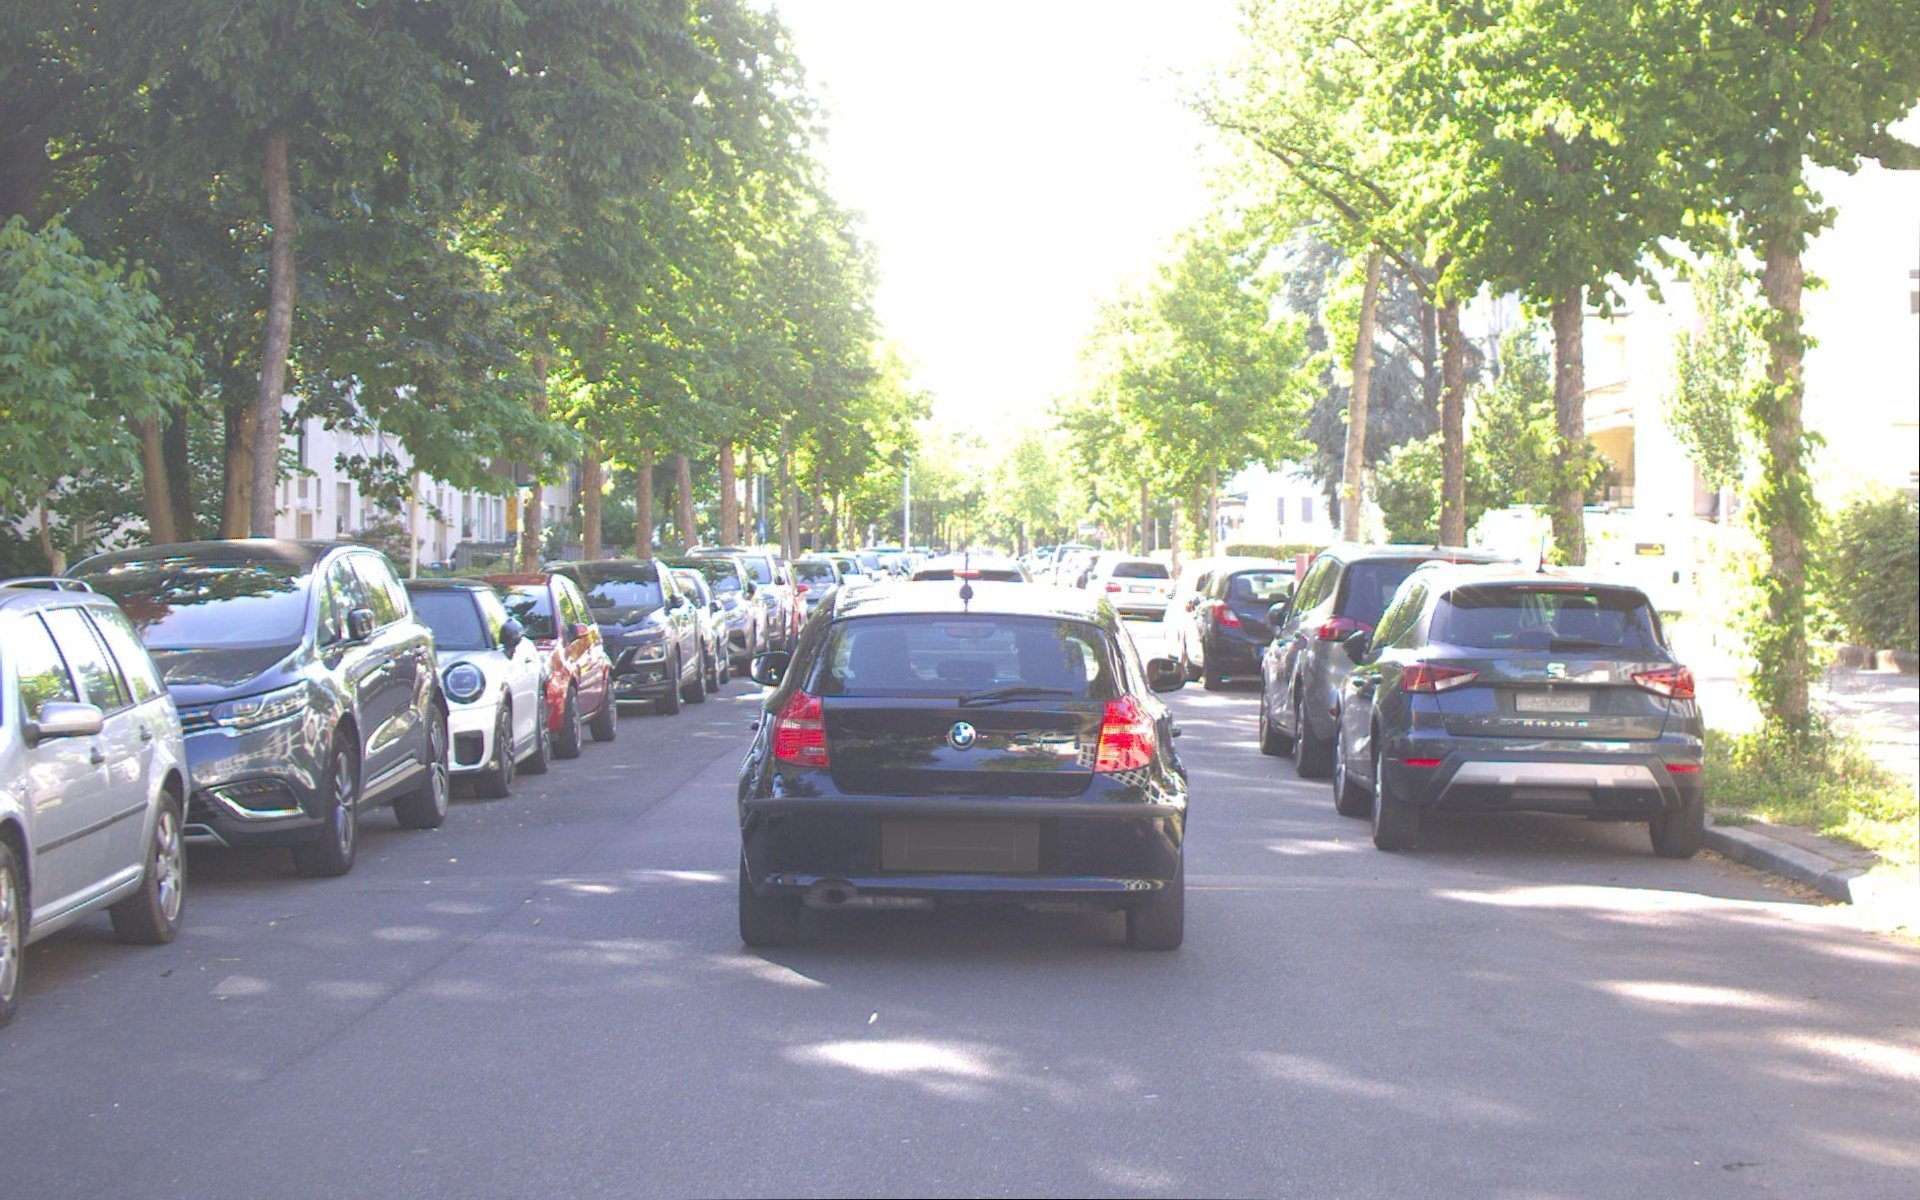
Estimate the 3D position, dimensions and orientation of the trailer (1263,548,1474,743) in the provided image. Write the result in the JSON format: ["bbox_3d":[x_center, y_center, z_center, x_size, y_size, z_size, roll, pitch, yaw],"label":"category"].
[{"bbox_3d":[3.577,0.360,30.512,1.575,1.573,3.192,2,1,3],"label":"trailer"}]

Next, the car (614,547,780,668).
[{"bbox_3d":[-3.454,0.066,45.874,1.769,1.526,4.419,0,1,1],"label":"car"}]

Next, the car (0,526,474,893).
[{"bbox_3d":[-3.866,0.461,18.144,1.842,1.651,5.088,-1,1,0],"label":"car"}]

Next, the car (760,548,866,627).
[{"bbox_3d":[-2.959,-0.279,68.646,2.042,1.519,4.607,0,1,-3],"label":"car"}]

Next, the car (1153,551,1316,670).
[{"bbox_3d":[3.578,0.105,45.410,1.732,1.482,4.010,1,1,-1],"label":"car"}]

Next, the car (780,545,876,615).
[{"bbox_3d":[-2.949,-0.471,76.663,2.064,1.519,4.722,0,1,-2],"label":"car"}]

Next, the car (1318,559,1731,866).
[{"bbox_3d":[3.082,0.542,19.573,1.718,1.511,4.344,1,1,1],"label":"car"}]

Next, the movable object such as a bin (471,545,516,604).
[{"bbox_3d":[-10.645,-0.581,78.510,0.929,1.319,1.379,0,1,-5],"label":"movable object such as a bin"}]

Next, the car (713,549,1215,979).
[{"bbox_3d":[-0.006,0.558,14.328,1.782,1.518,4.000,-1,1,-1],"label":"car"}]

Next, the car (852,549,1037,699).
[{"bbox_3d":[-0.191,0.244,38.077,1.895,1.519,4.967,1,0,-1],"label":"car"}]

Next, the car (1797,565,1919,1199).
[{"bbox_3d":[2.849,0.735,5.159,1.781,1.513,4.688,1,1,-3],"label":"car"}]

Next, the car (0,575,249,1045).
[{"bbox_3d":[-3.962,0.673,12.844,1.706,1.475,4.490,-1,1,-1],"label":"car"}]

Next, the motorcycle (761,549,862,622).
[{"bbox_3d":[-3.145,-0.307,72.691,0.987,1.498,2.233,-1,1,-39],"label":"motorcycle"}]

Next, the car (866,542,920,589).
[{"bbox_3d":[-2.352,-1.216,121.273,1.811,1.590,4.233,-1,1,0],"label":"car"}]

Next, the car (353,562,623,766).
[{"bbox_3d":[-3.750,0.457,27.905,1.654,1.499,4.069,-1,1,-1],"label":"car"}]

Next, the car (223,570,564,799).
[{"bbox_3d":[-3.754,0.505,23.422,1.654,1.368,4.189,-1,1,-1],"label":"car"}]

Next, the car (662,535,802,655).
[{"bbox_3d":[-3.337,-0.108,51.108,1.767,1.682,4.814,-1,1,0],"label":"car"}]

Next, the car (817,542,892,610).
[{"bbox_3d":[-2.680,-0.630,88.410,1.728,1.612,4.366,-3,1,0],"label":"car"}]

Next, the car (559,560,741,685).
[{"bbox_3d":[-3.587,0.223,40.448,1.785,1.348,4.482,-1,1,-1],"label":"car"}]

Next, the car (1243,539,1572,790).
[{"bbox_3d":[3.232,0.398,25.746,1.792,1.637,4.819,2,1,0],"label":"car"}]

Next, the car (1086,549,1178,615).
[{"bbox_3d":[4.021,-0.451,81.092,1.821,1.464,4.910,2,1,-1],"label":"car"}]

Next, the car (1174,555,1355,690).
[{"bbox_3d":[3.560,0.227,40.814,1.670,1.445,4.179,2,1,-1],"label":"car"}]

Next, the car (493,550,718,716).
[{"bbox_3d":[-3.558,0.283,35.233,1.706,1.571,4.481,-1,1,2],"label":"car"}]

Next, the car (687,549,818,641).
[{"bbox_3d":[-3.421,-0.110,57.371,1.856,1.464,4.182,0,1,1],"label":"car"}]

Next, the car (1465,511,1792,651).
[{"bbox_3d":[11.316,-0.350,58.249,5.039,2.298,2.235,-1,1,-22],"label":"car"}]

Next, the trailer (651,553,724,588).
[{"bbox_3d":[-8.159,-0.907,103.285,1.789,1.030,3.281,0,1,3],"label":"trailer"}]
